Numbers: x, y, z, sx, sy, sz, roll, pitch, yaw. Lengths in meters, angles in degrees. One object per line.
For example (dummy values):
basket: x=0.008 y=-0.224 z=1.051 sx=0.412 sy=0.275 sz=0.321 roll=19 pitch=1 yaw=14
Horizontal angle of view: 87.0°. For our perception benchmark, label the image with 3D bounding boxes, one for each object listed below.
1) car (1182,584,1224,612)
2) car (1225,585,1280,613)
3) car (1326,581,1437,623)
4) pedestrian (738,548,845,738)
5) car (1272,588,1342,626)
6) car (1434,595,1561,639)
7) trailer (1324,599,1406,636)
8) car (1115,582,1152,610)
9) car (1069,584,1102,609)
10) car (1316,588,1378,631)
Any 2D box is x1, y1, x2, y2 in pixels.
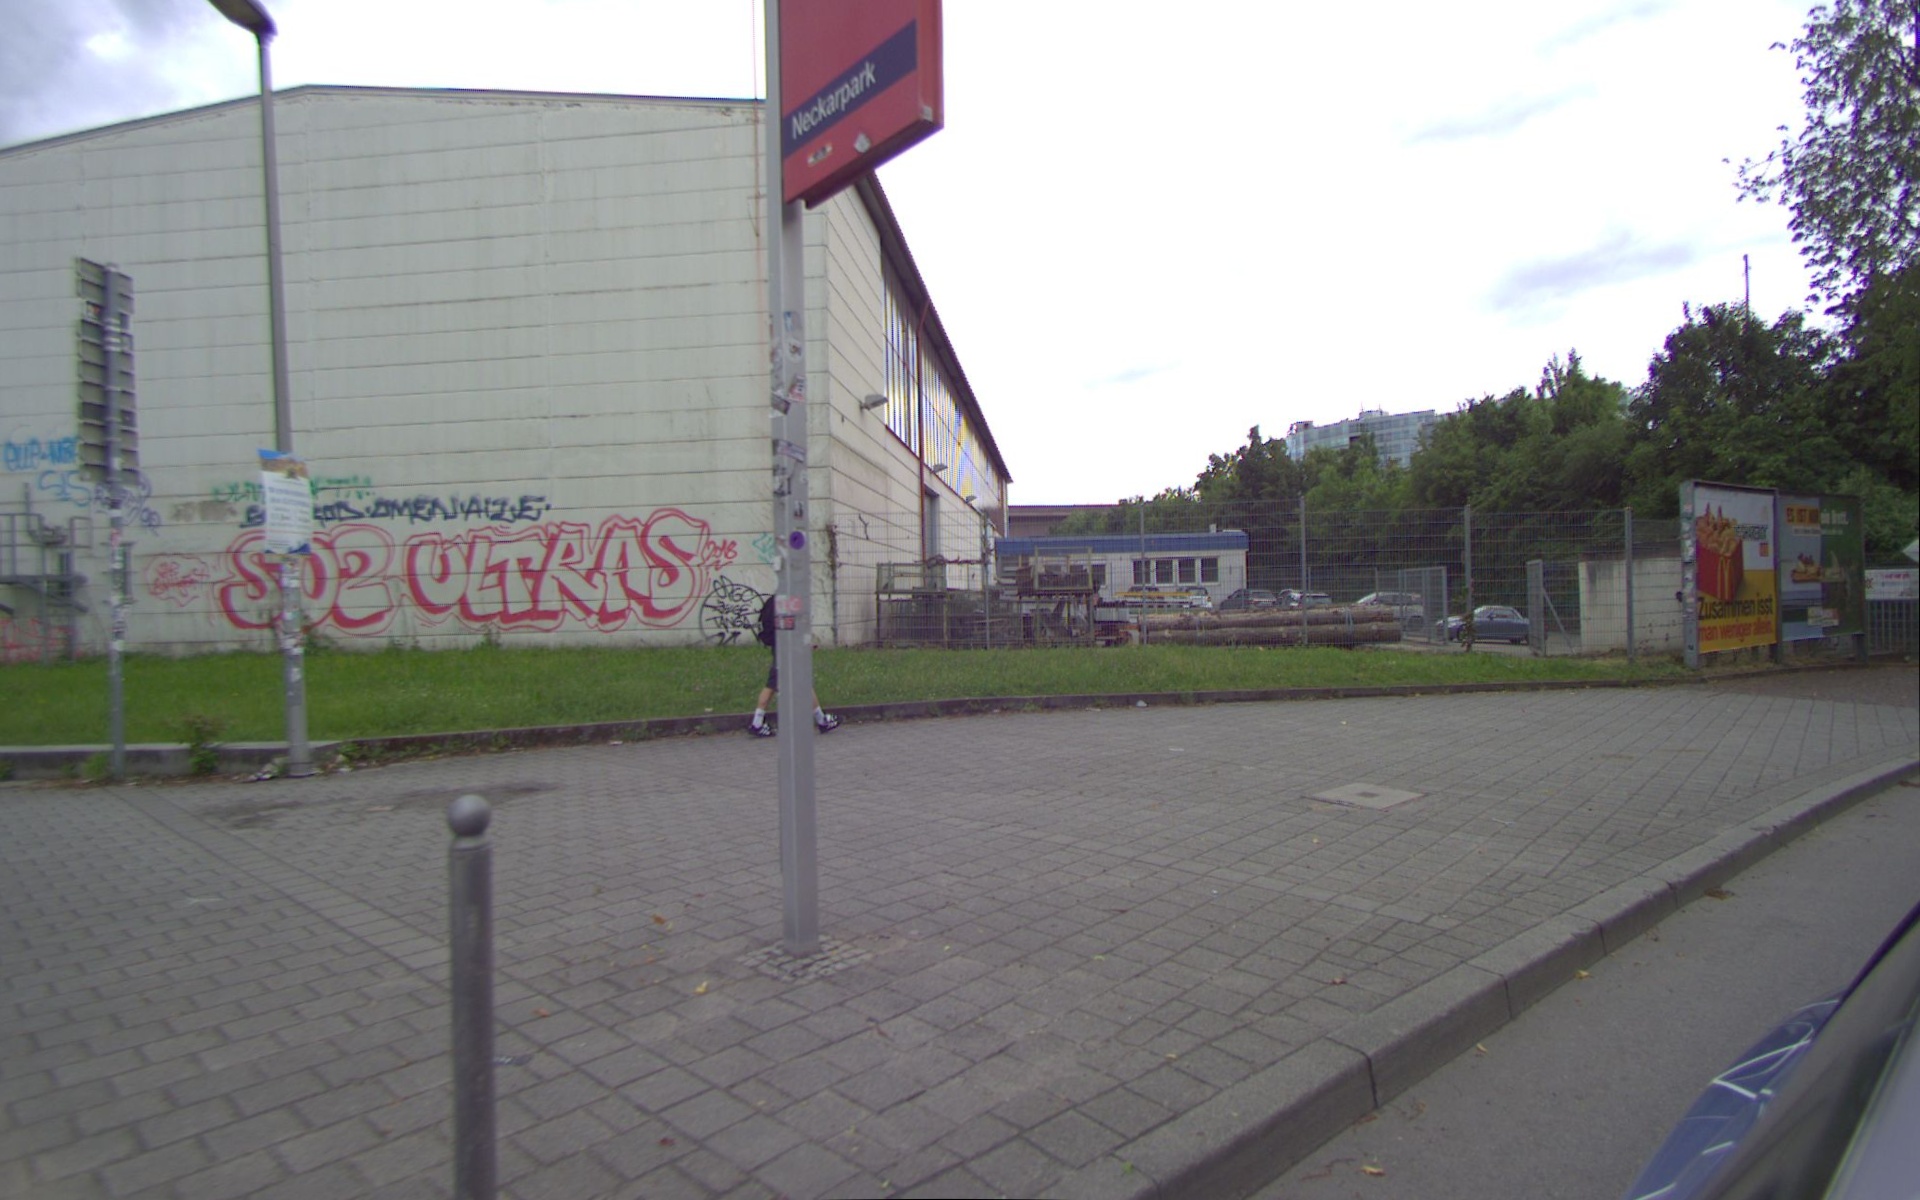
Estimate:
car: x=12.309 y=-0.134 z=51.331 sx=1.312 sy=1.348 sz=3.311 roll=1 pitch=1 yaw=0
car: x=14.732 y=-0.063 z=51.110 sx=1.500 sy=1.348 sz=3.686 roll=1 pitch=1 yaw=-3
car: x=17.014 y=0.067 z=40.979 sx=3.741 sy=1.550 sz=1.565 roll=2 pitch=2 yaw=2
pedestrian: x=-1.628 y=0.381 z=9.695 sx=0.920 sy=1.705 sz=0.852 roll=-2 pitch=1 yaw=-12
car: x=13.389 y=0.233 z=39.249 sx=1.776 sy=1.394 sz=3.791 roll=-1 pitch=1 yaw=7
car: x=17.647 y=0.548 z=33.297 sx=3.308 sy=1.267 sz=1.471 roll=2 pitch=1 yaw=2
trailer: x=13.165 y=0.543 z=33.029 sx=1.817 sy=1.152 sz=2.635 roll=0 pitch=0 yaw=6
car: x=8.866 y=-0.215 z=51.885 sx=1.312 sy=1.348 sz=3.311 roll=1 pitch=1 yaw=0
car: x=6.492 y=-0.204 z=52.509 sx=1.312 sy=1.224 sz=3.311 roll=1 pitch=1 yaw=0
car: x=13.601 y=0.303 z=35.716 sx=1.348 sy=1.458 sz=2.849 roll=1 pitch=1 yaw=7
